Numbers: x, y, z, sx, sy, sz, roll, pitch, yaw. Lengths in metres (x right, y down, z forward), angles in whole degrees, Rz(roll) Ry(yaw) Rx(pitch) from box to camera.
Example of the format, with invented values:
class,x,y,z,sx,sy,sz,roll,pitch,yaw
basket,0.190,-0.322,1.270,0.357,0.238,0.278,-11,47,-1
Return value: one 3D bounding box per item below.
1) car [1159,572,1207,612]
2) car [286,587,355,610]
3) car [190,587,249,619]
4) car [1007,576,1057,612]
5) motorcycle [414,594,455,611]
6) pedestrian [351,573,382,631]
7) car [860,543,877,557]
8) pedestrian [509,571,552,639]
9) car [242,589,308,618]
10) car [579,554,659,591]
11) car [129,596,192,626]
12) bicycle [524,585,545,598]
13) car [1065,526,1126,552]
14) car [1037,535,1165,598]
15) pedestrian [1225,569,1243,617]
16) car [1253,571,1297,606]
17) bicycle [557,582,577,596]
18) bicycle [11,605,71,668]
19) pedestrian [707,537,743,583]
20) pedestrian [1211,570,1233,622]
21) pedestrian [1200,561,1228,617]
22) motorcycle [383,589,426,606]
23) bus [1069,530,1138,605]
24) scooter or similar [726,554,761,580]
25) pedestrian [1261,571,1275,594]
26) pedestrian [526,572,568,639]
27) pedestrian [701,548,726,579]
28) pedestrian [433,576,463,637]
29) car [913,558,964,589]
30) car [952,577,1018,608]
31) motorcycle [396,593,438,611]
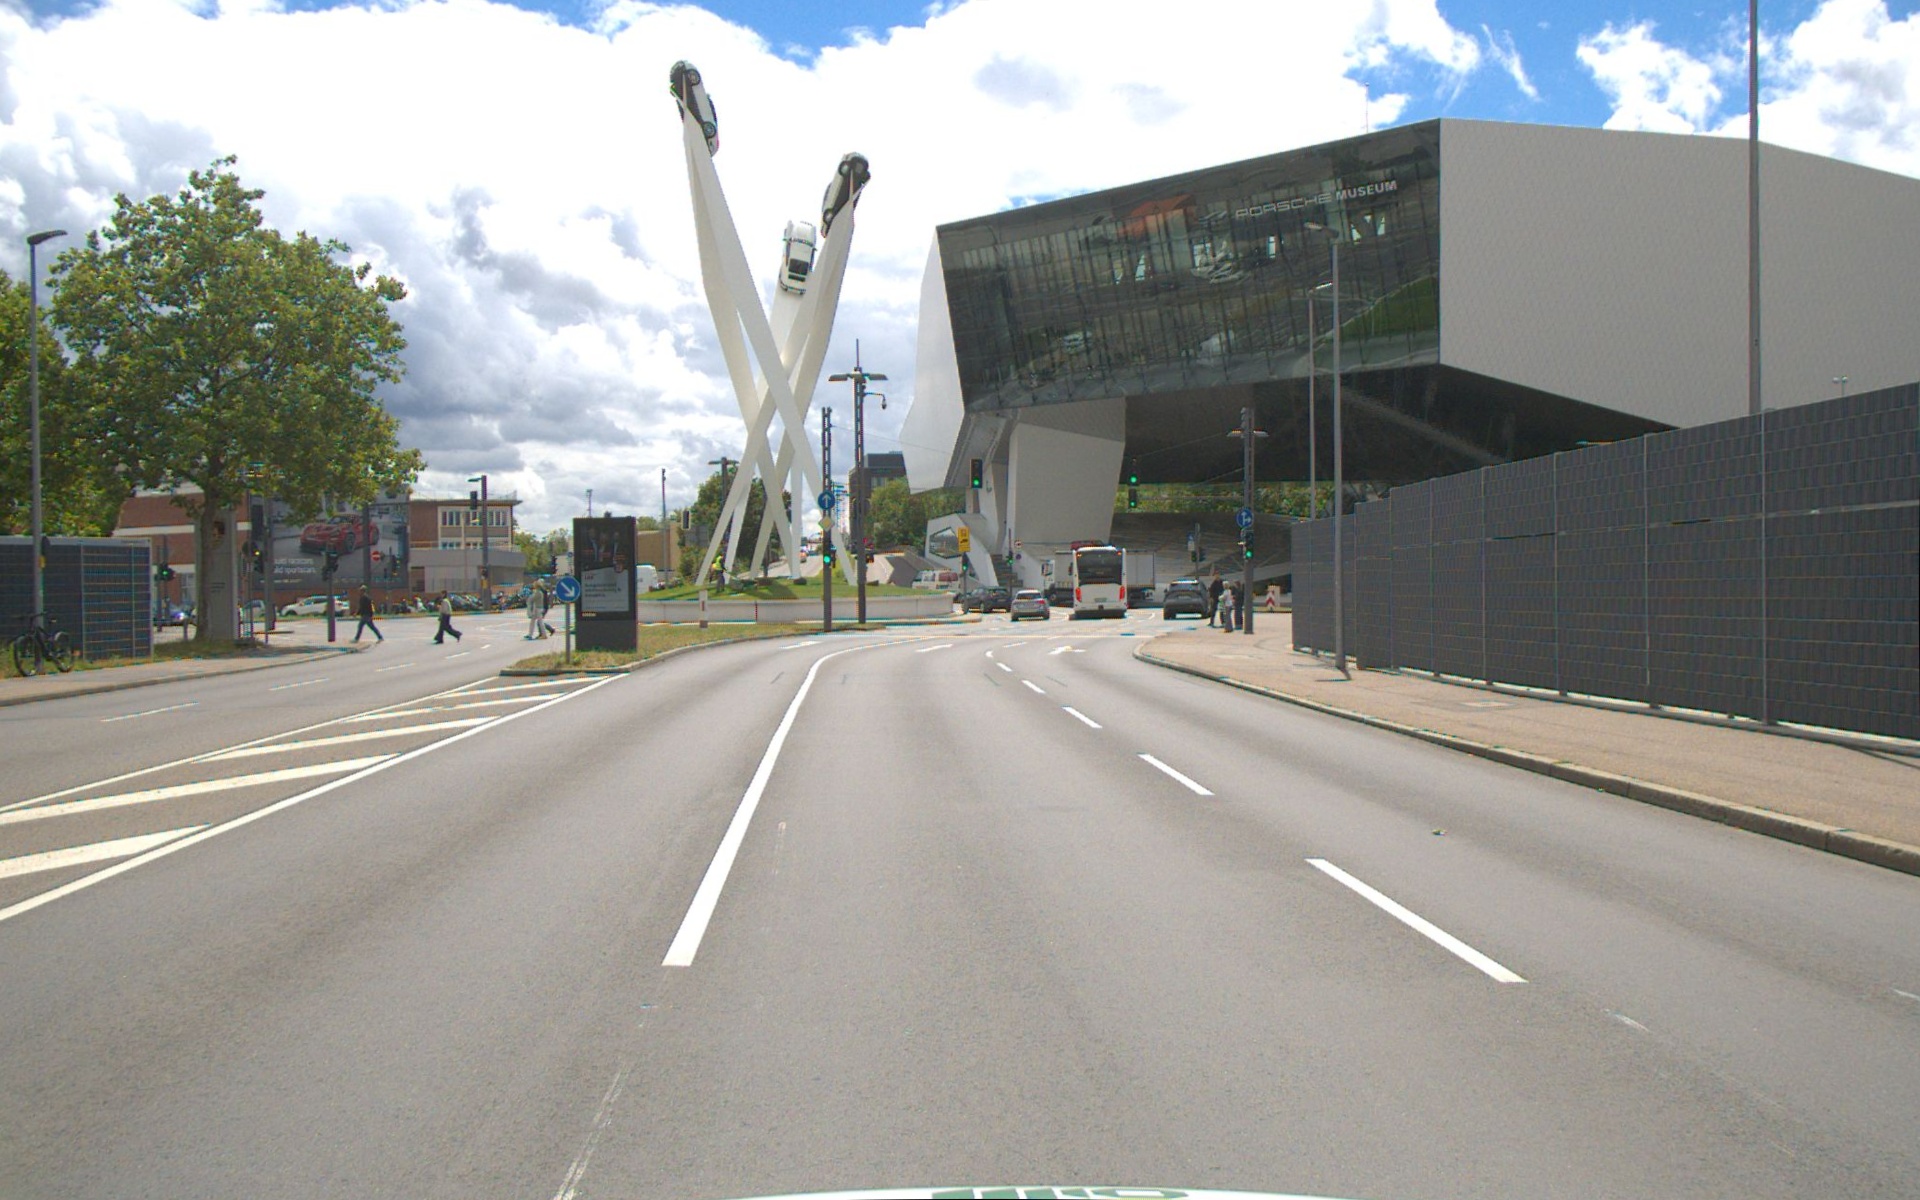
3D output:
class,x,y,z,sx,sy,sz,roll,pitch,yaw
car,9.565,-0.363,70.698,1.951,1.665,4.004,1,1,9
car,-43.350,-0.098,112.146,3.903,1.527,2.001,1,0,17
car,-42.552,0.162,95.026,3.712,1.828,1.899,1,0,44
car,3.502,-0.259,79.776,1.951,1.665,4.003,1,0,9
motorcycle,-38.633,0.158,121.565,2.841,1.216,0.921,1,0,15
pedestrian,-18.797,0.077,52.368,0.849,1.805,1.030,1,0,-17
car,-11.180,-6.121,201.911,1.953,1.664,4.655,1,2,-2
pedestrian,-13.359,0.150,51.478,0.932,2.091,0.952,1,0,15
car,-40.201,0.210,97.010,3.925,1.604,1.990,1,0,40
car,-21.319,-1.703,103.402,4.544,2.209,2.000,1,0,0
car,-43.987,0.593,90.966,3.888,1.583,1.792,1,0,43
bicycle,-30.540,-0.587,118.759,0.482,0.881,1.607,0,0,31
car,10.531,-4.759,128.356,4.438,1.418,1.988,10,11,42
car,8.245,-1.915,98.258,3.295,3.565,9.262,1,0,-26
pedestrian,9.391,-0.237,56.681,0.454,1.644,0.663,1,0,-1
car,15.169,-0.535,79.785,1.951,1.665,4.003,1,0,9
bicycle,-27.663,-0.770,116.406,0.481,0.881,1.611,1,4,24
bicycle,-17.131,0.663,30.844,0.290,1.151,1.484,1,0,-1
pedestrian,-10.218,-1.753,71.946,1.263,1.847,0.981,-5,5,-20
pedestrian,8.492,-0.129,53.636,0.645,1.636,0.823,1,0,7
pedestrian,8.833,-0.377,57.526,0.649,1.899,0.789,1,0,-18
motorcycle,-39.622,-0.174,117.961,2.841,1.216,0.921,1,0,15
bus,7.295,-1.478,82.582,3.006,3.421,12.232,1,0,7
scooter or similar,-9.464,-1.447,72.427,1.381,1.043,0.546,-5,7,-23
pedestrian,22.573,-1.283,121.373,0.811,1.600,0.923,1,0,24
pedestrian,-13.097,0.167,52.435,0.932,2.091,0.952,1,0,15
pedestrian,-12.537,-1.857,84.147,0.835,1.431,0.965,-6,-3,18
pedestrian,-15.594,0.197,50.414,0.849,1.805,1.030,1,0,-17
car,-1.454,-1.726,109.173,1.968,1.937,3.969,1,0,-25
car,1.402,-0.421,93.317,1.973,1.665,3.958,1,0,-31
motorcycle,-39.099,0.128,119.050,2.841,1.216,0.921,1,0,15
